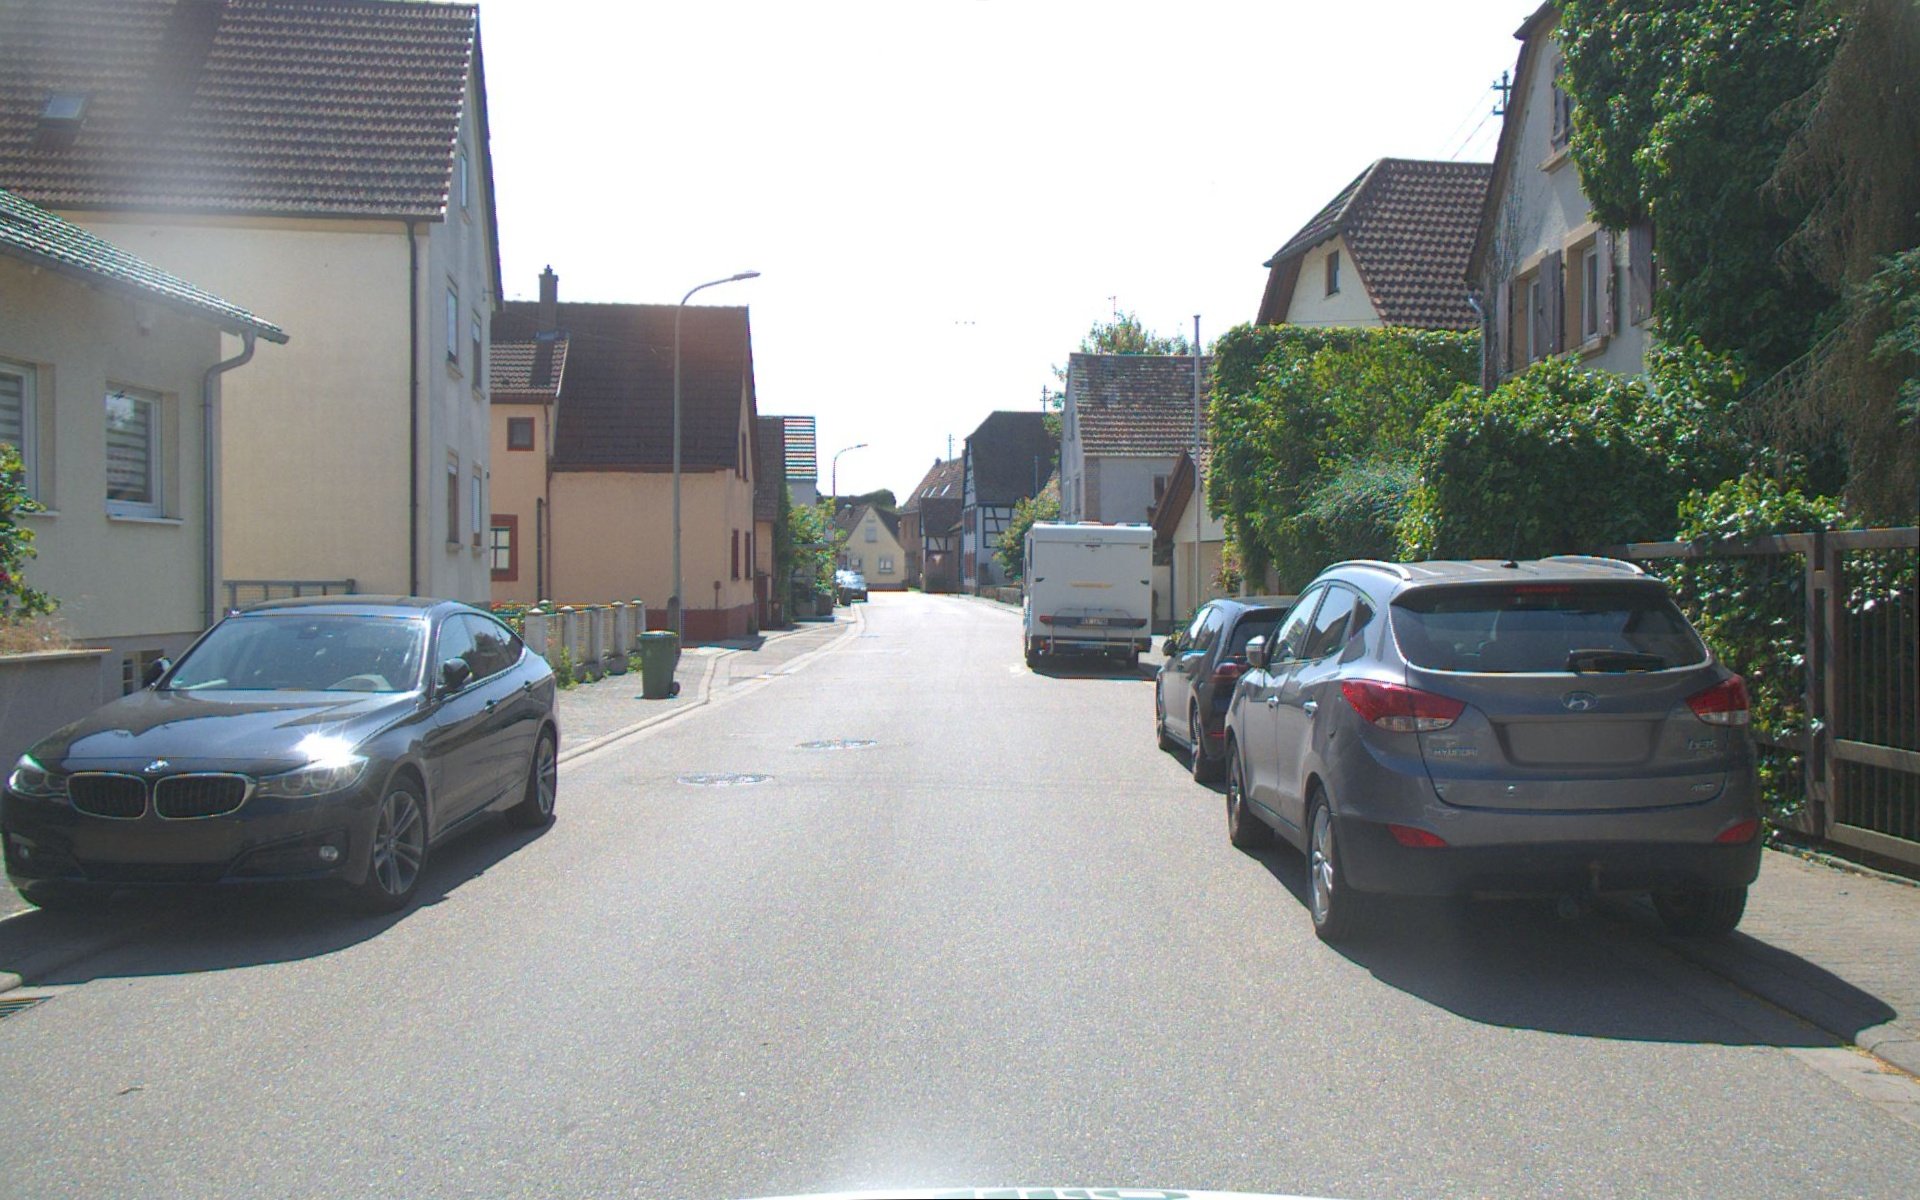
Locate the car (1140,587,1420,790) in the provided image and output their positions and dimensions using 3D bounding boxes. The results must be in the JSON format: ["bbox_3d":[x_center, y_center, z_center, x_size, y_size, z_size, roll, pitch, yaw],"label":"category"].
[{"bbox_3d":[2.638,0.653,14.523,1.677,1.489,4.065,-1,1,0],"label":"car"}]

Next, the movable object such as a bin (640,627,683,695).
[{"bbox_3d":[-4.434,0.903,24.614,0.528,0.966,0.553,1,0,-1],"label":"movable object such as a bin"}]

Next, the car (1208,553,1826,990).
[{"bbox_3d":[2.459,0.621,8.514,1.757,1.659,4.361,-1,1,1],"label":"car"}]

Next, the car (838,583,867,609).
[{"bbox_3d":[-6.198,-0.241,95.915,1.481,1.461,3.511,-1,1,-1],"label":"car"}]

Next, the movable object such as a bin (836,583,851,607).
[{"bbox_3d":[-5.853,-0.242,83.144,0.674,1.206,0.714,-1,0,-1],"label":"movable object such as a bin"}]

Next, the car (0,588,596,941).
[{"bbox_3d":[-3.557,0.705,9.654,1.806,1.553,4.765,0,0,0],"label":"car"}]

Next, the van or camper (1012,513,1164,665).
[{"bbox_3d":[2.391,-0.220,32.192,2.471,2.744,4.554,0,0,-2],"label":"van or camper"}]
